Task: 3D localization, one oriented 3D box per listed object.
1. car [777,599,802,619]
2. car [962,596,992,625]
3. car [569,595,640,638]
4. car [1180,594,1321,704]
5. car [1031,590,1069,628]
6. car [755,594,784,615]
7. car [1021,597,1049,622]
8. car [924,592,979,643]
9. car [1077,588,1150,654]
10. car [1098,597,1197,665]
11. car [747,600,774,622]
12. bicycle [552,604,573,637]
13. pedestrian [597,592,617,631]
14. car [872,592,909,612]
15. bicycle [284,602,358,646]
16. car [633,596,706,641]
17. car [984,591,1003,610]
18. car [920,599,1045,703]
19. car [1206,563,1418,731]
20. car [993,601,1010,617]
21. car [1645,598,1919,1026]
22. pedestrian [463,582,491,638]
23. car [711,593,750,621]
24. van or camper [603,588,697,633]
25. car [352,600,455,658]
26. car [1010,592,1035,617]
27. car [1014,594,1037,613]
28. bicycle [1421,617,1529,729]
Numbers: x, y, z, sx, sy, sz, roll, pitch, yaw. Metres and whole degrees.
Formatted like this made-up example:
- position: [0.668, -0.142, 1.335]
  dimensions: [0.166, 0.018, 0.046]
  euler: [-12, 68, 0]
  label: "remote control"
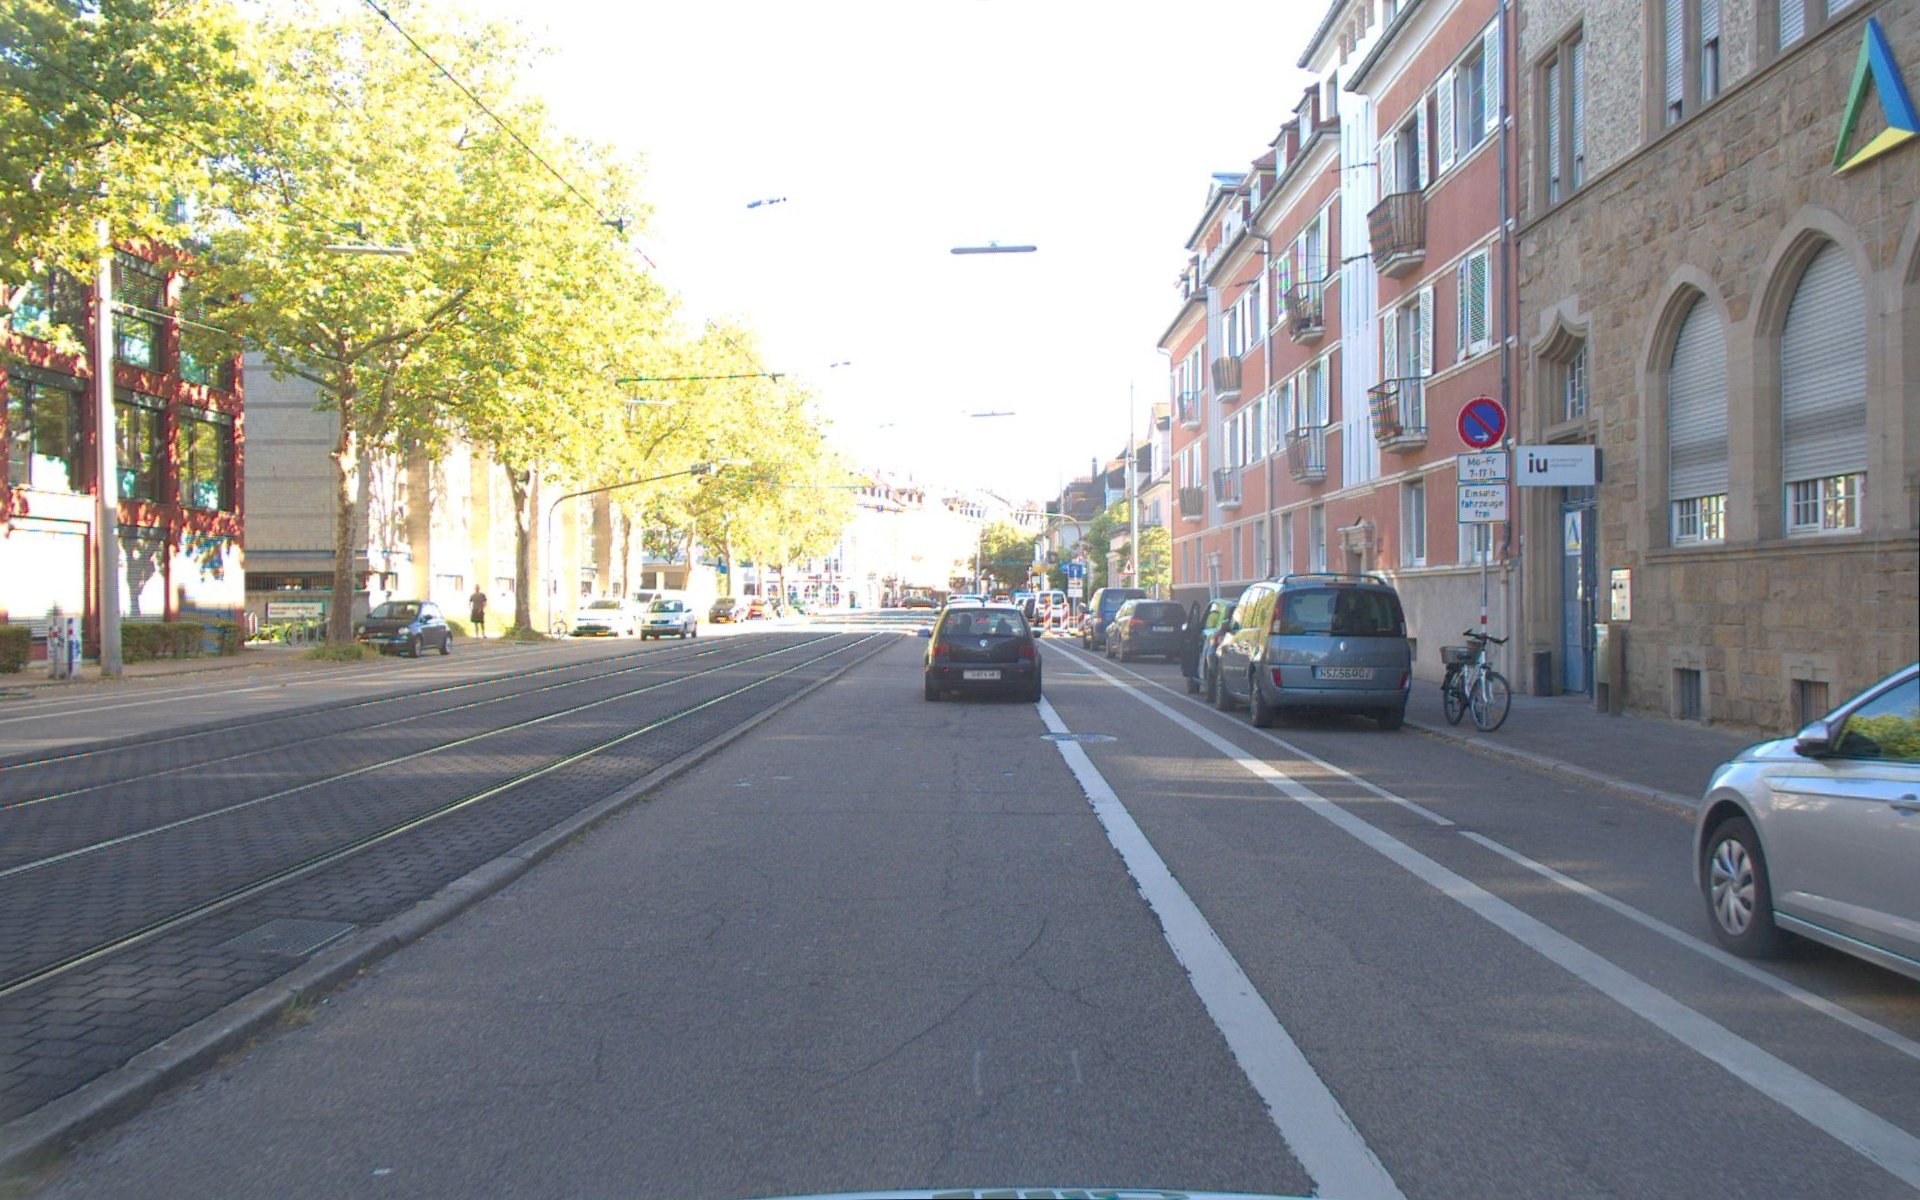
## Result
- position: [-15.312, 0.813, 148.413]
  dimensions: [1.845, 1.698, 3.804]
  euler: [2, 0, -1]
  label: "car"
- position: [0.918, 0.555, 89.345]
  dimensions: [1.602, 1.498, 3.729]
  euler: [0, 0, 0]
  label: "car"
- position: [-14.696, 0.655, 68.606]
  dimensions: [1.971, 1.600, 4.692]
  euler: [2, 0, -1]
  label: "car"
- position: [4.472, 0.709, 25.894]
  dimensions: [1.598, 1.538, 3.717]
  euler: [2, 0, 1]
  label: "car"
- position: [4.605, 0.440, 84.657]
  dimensions: [1.723, 1.870, 3.547]
  euler: [2, 0, 0]
  label: "car"
- position: [-14.840, 0.321, 128.850]
  dimensions: [1.756, 1.491, 3.835]
  euler: [3, 0, 0]
  label: "car"
- position: [4.723, 0.561, 104.417]
  dimensions: [1.627, 1.552, 4.036]
  euler: [0, 0, 0]
  label: "car"
- position: [-0.247, 0.544, 53.811]
  dimensions: [1.712, 1.564, 3.892]
  euler: [0, 0, 1]
  label: "car"
- position: [4.544, 0.585, 49.467]
  dimensions: [1.668, 1.842, 4.270]
  euler: [2, 0, -1]
  label: "car"
- position: [4.560, 0.718, 40.853]
  dimensions: [1.718, 1.538, 4.761]
  euler: [2, 0, -2]
  label: "car"
- position: [-14.421, 0.804, 119.759]
  dimensions: [1.538, 1.560, 3.572]
  euler: [0, -1, 0]
  label: "car"
- position: [-15.135, 0.776, 63.024]
  dimensions: [0.570, 1.230, 1.652]
  euler: [0, 0, -6]
  label: "bicycle"
- position: [-17.346, 0.566, 81.192]
  dimensions: [0.780, 1.852, 0.670]
  euler: [2, 0, 0]
  label: "pedestrian"
- position: [-7.921, 0.214, 188.073]
  dimensions: [3.916, 2.049, 1.995]
  euler: [2, 0, -11]
  label: "car"
- position: [-19.585, 0.737, 50.692]
  dimensions: [1.967, 1.301, 0.664]
  euler: [1, 0, 0]
  label: "bicycle"
- position: [-10.608, 0.664, 60.668]
  dimensions: [1.716, 1.544, 4.073]
  euler: [-2, 0, 3]
  label: "car"
- position: [2.798, 0.039, 138.989]
  dimensions: [1.602, 1.498, 3.729]
  euler: [0, 0, 0]
  label: "car"
- position: [0.277, 0.706, 24.847]
  dimensions: [1.713, 1.399, 3.999]
  euler: [0, 0, -1]
  label: "car"
- position: [4.367, 0.531, 21.240]
  dimensions: [1.717, 1.888, 4.815]
  euler: [1, 0, 0]
  label: "car"
- position: [4.263, 0.917, 168.559]
  dimensions: [1.634, 1.626, 3.650]
  euler: [0, 0, 0]
  label: "car"
- position: [4.297, 0.787, 6.219]
  dimensions: [1.678, 1.527, 4.226]
  euler: [2, 0, 0]
  label: "car"
- position: [-16.722, 0.348, 57.305]
  dimensions: [0.776, 1.902, 0.665]
  euler: [2, 0, -28]
  label: "pedestrian"
- position: [-14.297, 0.411, 103.194]
  dimensions: [1.849, 1.695, 4.000]
  euler: [0, 0, 0]
  label: "car"
- position: [-14.725, 0.490, 78.958]
  dimensions: [2.017, 1.983, 5.190]
  euler: [2, 0, 20]
  label: "van or camper"
- position: [-14.858, 0.777, 44.317]
  dimensions: [1.476, 1.479, 3.463]
  euler: [1, -1, 1]
  label: "car"
- position: [4.784, 0.344, 127.035]
  dimensions: [1.780, 1.830, 4.000]
  euler: [0, 0, 0]
  label: "car"
- position: [4.810, 0.267, 122.240]
  dimensions: [1.547, 1.399, 4.000]
  euler: [0, 0, 0]
  label: "car"
- position: [5.901, 0.803, 19.066]
  dimensions: [0.504, 1.159, 2.258]
  euler: [-2, 0, 0]
  label: "bicycle"
